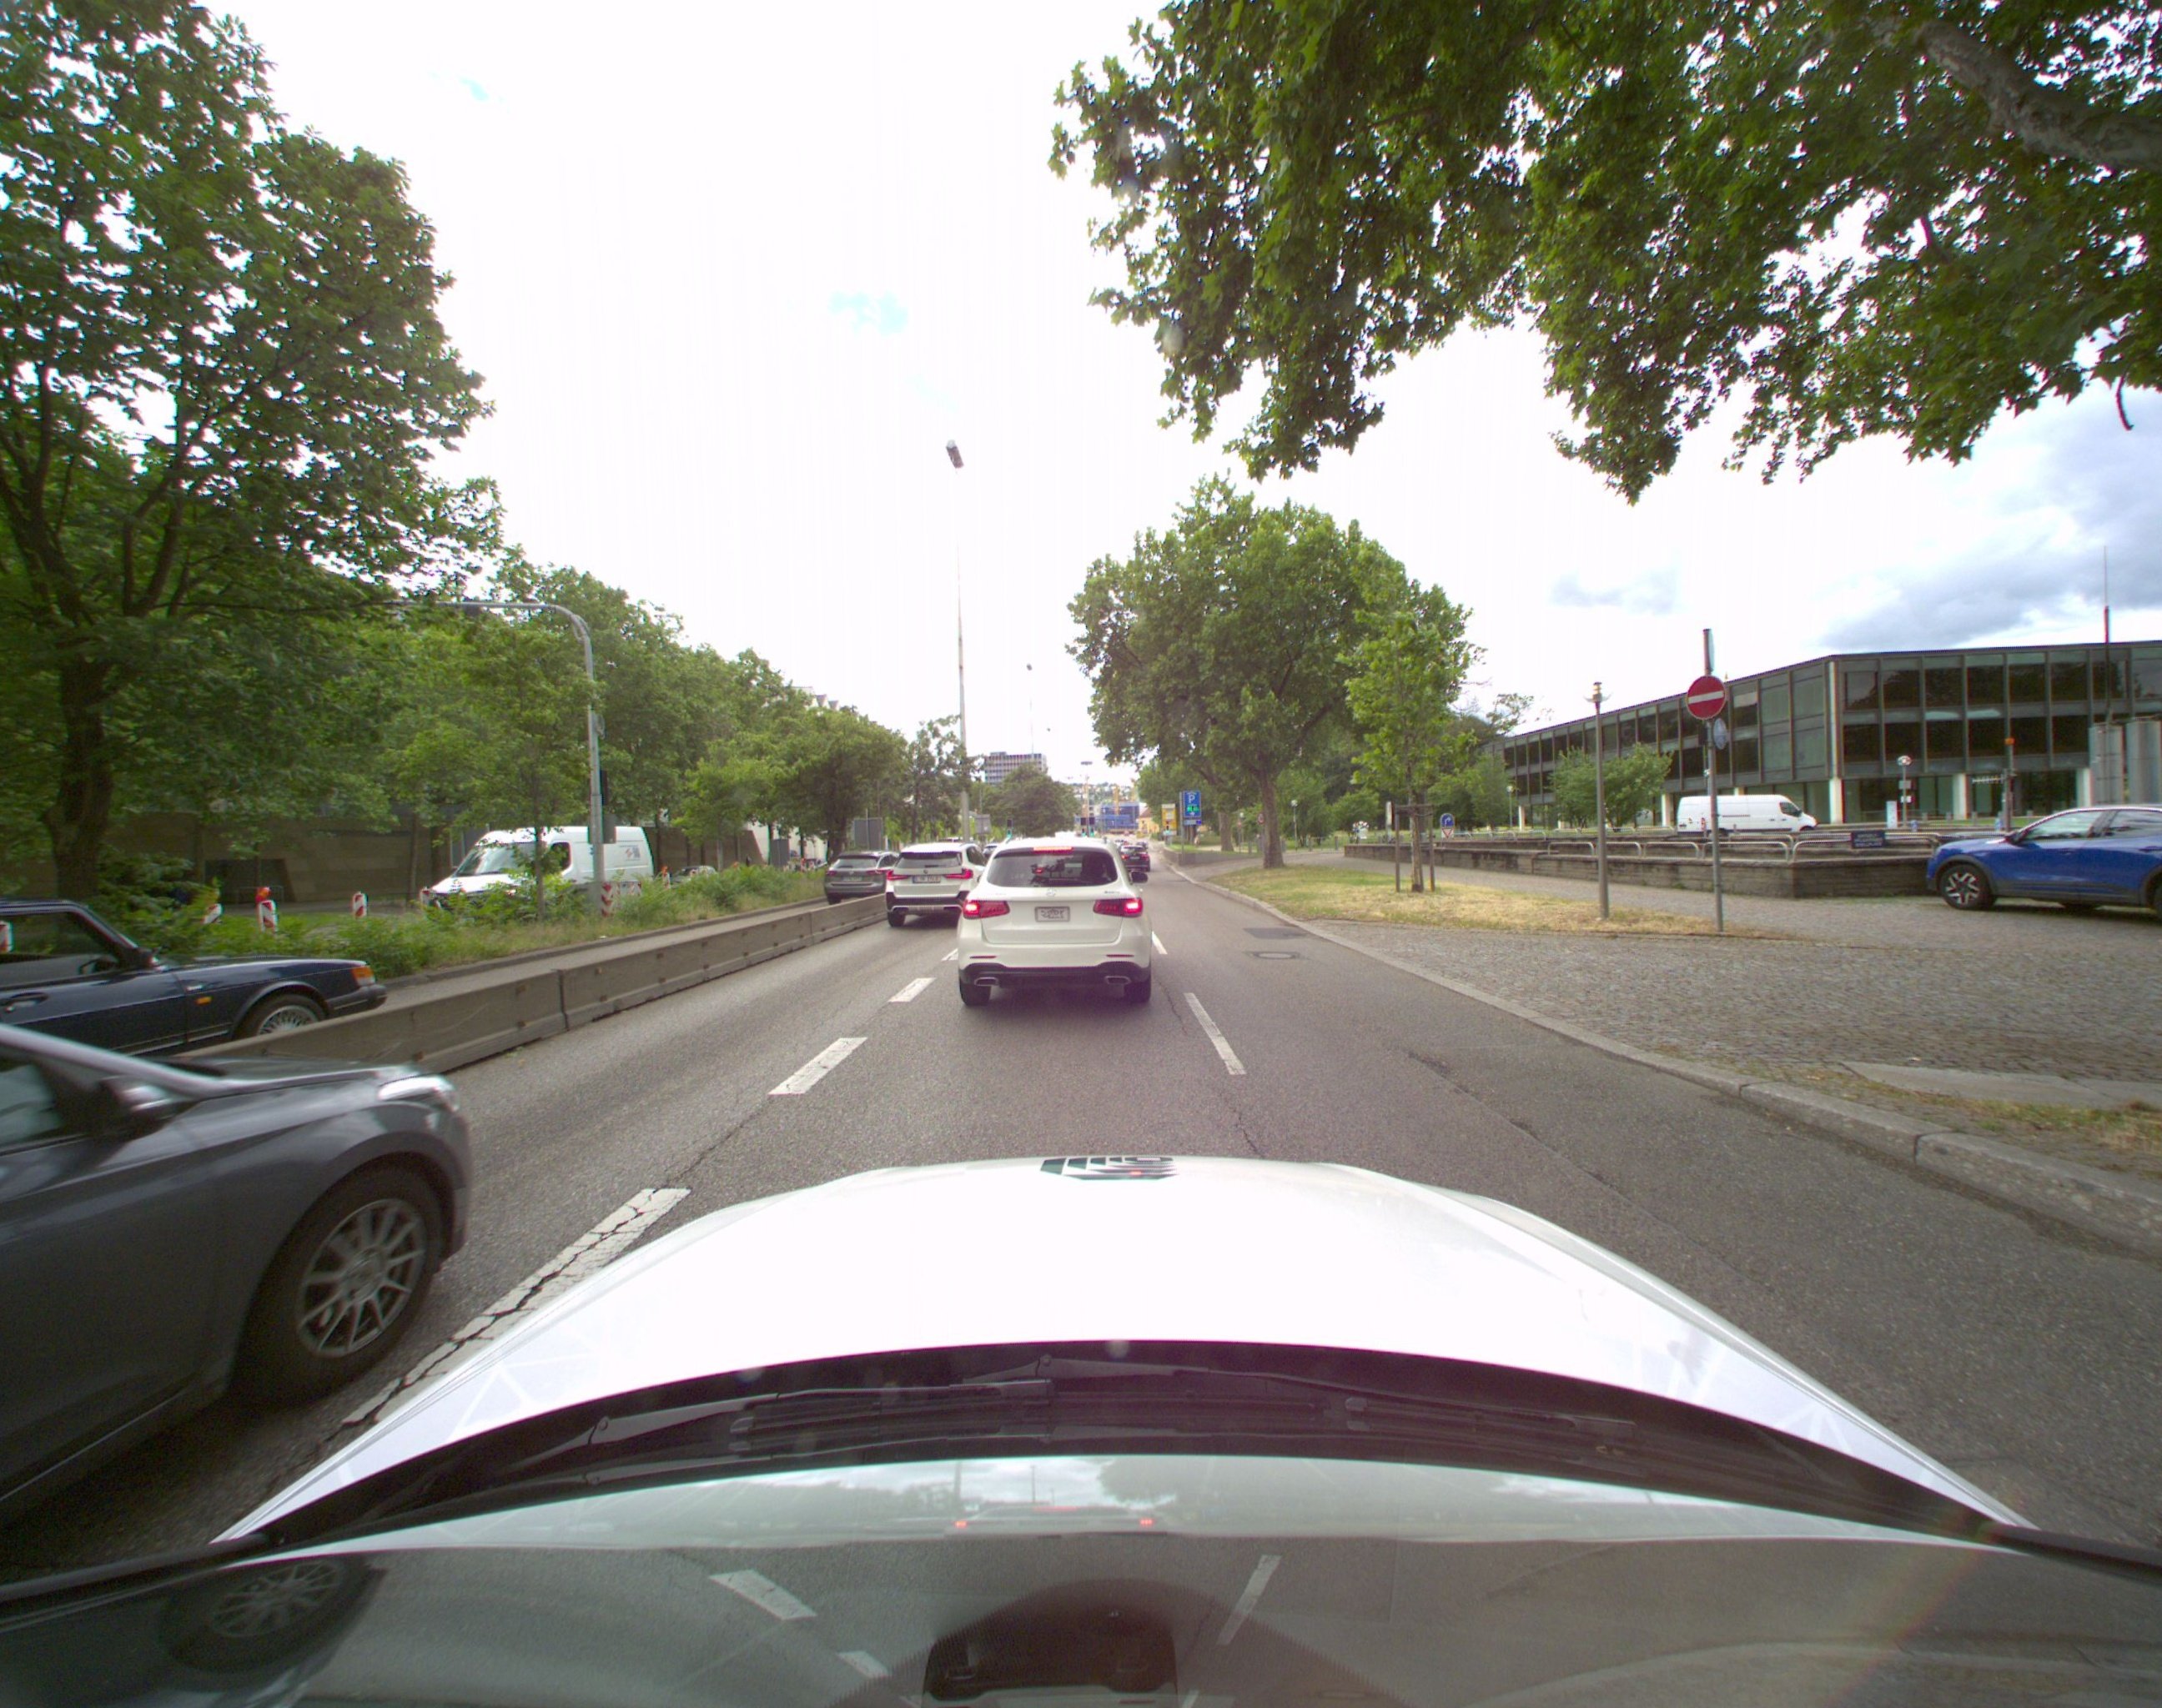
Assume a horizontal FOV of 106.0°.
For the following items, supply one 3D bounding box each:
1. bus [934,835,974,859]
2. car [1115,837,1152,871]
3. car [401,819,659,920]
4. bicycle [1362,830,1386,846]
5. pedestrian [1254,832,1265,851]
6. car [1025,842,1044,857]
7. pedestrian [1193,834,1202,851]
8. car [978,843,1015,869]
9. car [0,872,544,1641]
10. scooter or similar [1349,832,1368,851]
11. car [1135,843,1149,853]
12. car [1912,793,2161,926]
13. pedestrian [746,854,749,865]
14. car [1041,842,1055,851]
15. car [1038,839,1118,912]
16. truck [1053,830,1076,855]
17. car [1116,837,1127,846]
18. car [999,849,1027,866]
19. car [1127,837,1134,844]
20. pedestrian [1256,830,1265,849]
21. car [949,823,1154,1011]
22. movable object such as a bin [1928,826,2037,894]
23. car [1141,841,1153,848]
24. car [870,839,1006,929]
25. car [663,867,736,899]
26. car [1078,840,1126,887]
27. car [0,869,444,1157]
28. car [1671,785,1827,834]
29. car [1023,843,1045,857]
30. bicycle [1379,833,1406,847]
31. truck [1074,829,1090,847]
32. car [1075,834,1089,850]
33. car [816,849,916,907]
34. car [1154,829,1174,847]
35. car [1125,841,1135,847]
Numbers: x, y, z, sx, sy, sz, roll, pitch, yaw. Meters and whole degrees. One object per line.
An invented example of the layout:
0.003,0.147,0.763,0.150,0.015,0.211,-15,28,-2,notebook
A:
-18.261,-1.034,118.476,3.657,3.205,14.268,-2,1,-1,bus
2.865,-0.040,44.930,1.818,1.752,4.001,-2,1,1,car
-12.633,0.277,19.319,2.108,1.969,5.580,-2,1,2,car
21.178,-1.145,58.917,0.950,1.063,2.336,0,0,1,bicycle
15.156,-1.057,69.218,0.632,1.610,0.667,-2,1,45,pedestrian
-4.961,-0.501,87.941,1.653,1.513,3.549,-2,1,2,car
14.499,-1.404,101.293,0.752,2.013,0.703,-2,1,37,pedestrian
-5.158,0.103,50.072,1.770,1.420,4.000,-2,1,0,car
-3.000,0.824,1.133,1.792,1.437,4.020,-1,0,0,car
17.919,-0.800,52.567,0.633,1.245,2.228,0,0,4,scooter or similar
9.159,-0.949,122.329,1.939,1.428,4.019,-1,0,3,car
13.794,-0.005,10.732,1.752,1.551,4.032,-2,3,4,car
-32.519,0.532,79.352,0.214,1.078,0.257,0,0,-16,pedestrian
-4.976,-1.098,123.051,1.652,1.319,3.550,-1,0,3,car
-0.167,0.470,20.370,1.792,1.608,3.751,-1,0,-3,car
-1.952,-1.359,98.712,2.612,2.861,7.079,-1,1,1,truck
6.808,-2.072,136.807,1.939,1.319,4.019,-1,0,3,car
-5.396,0.250,65.020,1.651,1.319,3.552,-1,0,4,car
12.696,-3.456,209.544,1.752,1.669,4.170,-2,1,2,car
16.368,-1.322,74.272,0.754,1.724,0.701,-2,0,9,pedestrian
-0.193,0.559,9.323,1.781,1.625,4.439,-1,0,2,car
15.256,0.084,13.805,1.004,1.064,0.770,-2,3,-1,movable object such as a bin
12.076,-1.746,149.289,1.939,1.319,4.019,-1,0,3,car
-2.873,0.545,17.516,1.844,1.628,4.909,-1,0,2,car
-20.286,1.508,43.479,1.842,1.458,4.001,-2,1,1,car
0.753,0.328,31.183,1.654,1.639,3.546,-1,0,-1,car
-6.299,0.869,4.619,1.672,1.366,4.544,-2,1,1,car
34.834,-2.278,42.607,6.082,2.260,2.403,-2,1,3,car
-4.513,-0.384,78.562,1.651,1.319,3.552,-1,0,4,car
22.517,-1.018,58.889,0.950,0.975,2.788,0,0,1,bicycle
0.162,-2.695,140.331,2.683,2.991,5.638,0,0,1,truck
0.218,-1.972,132.944,1.985,2.475,4.004,-2,1,3,car
-5.923,0.606,22.876,1.655,1.436,3.961,-1,0,1,car
9.302,-1.785,91.332,1.985,2.013,4.003,-1,0,3,car
10.465,-2.073,173.539,1.939,1.319,4.019,-1,0,3,car
